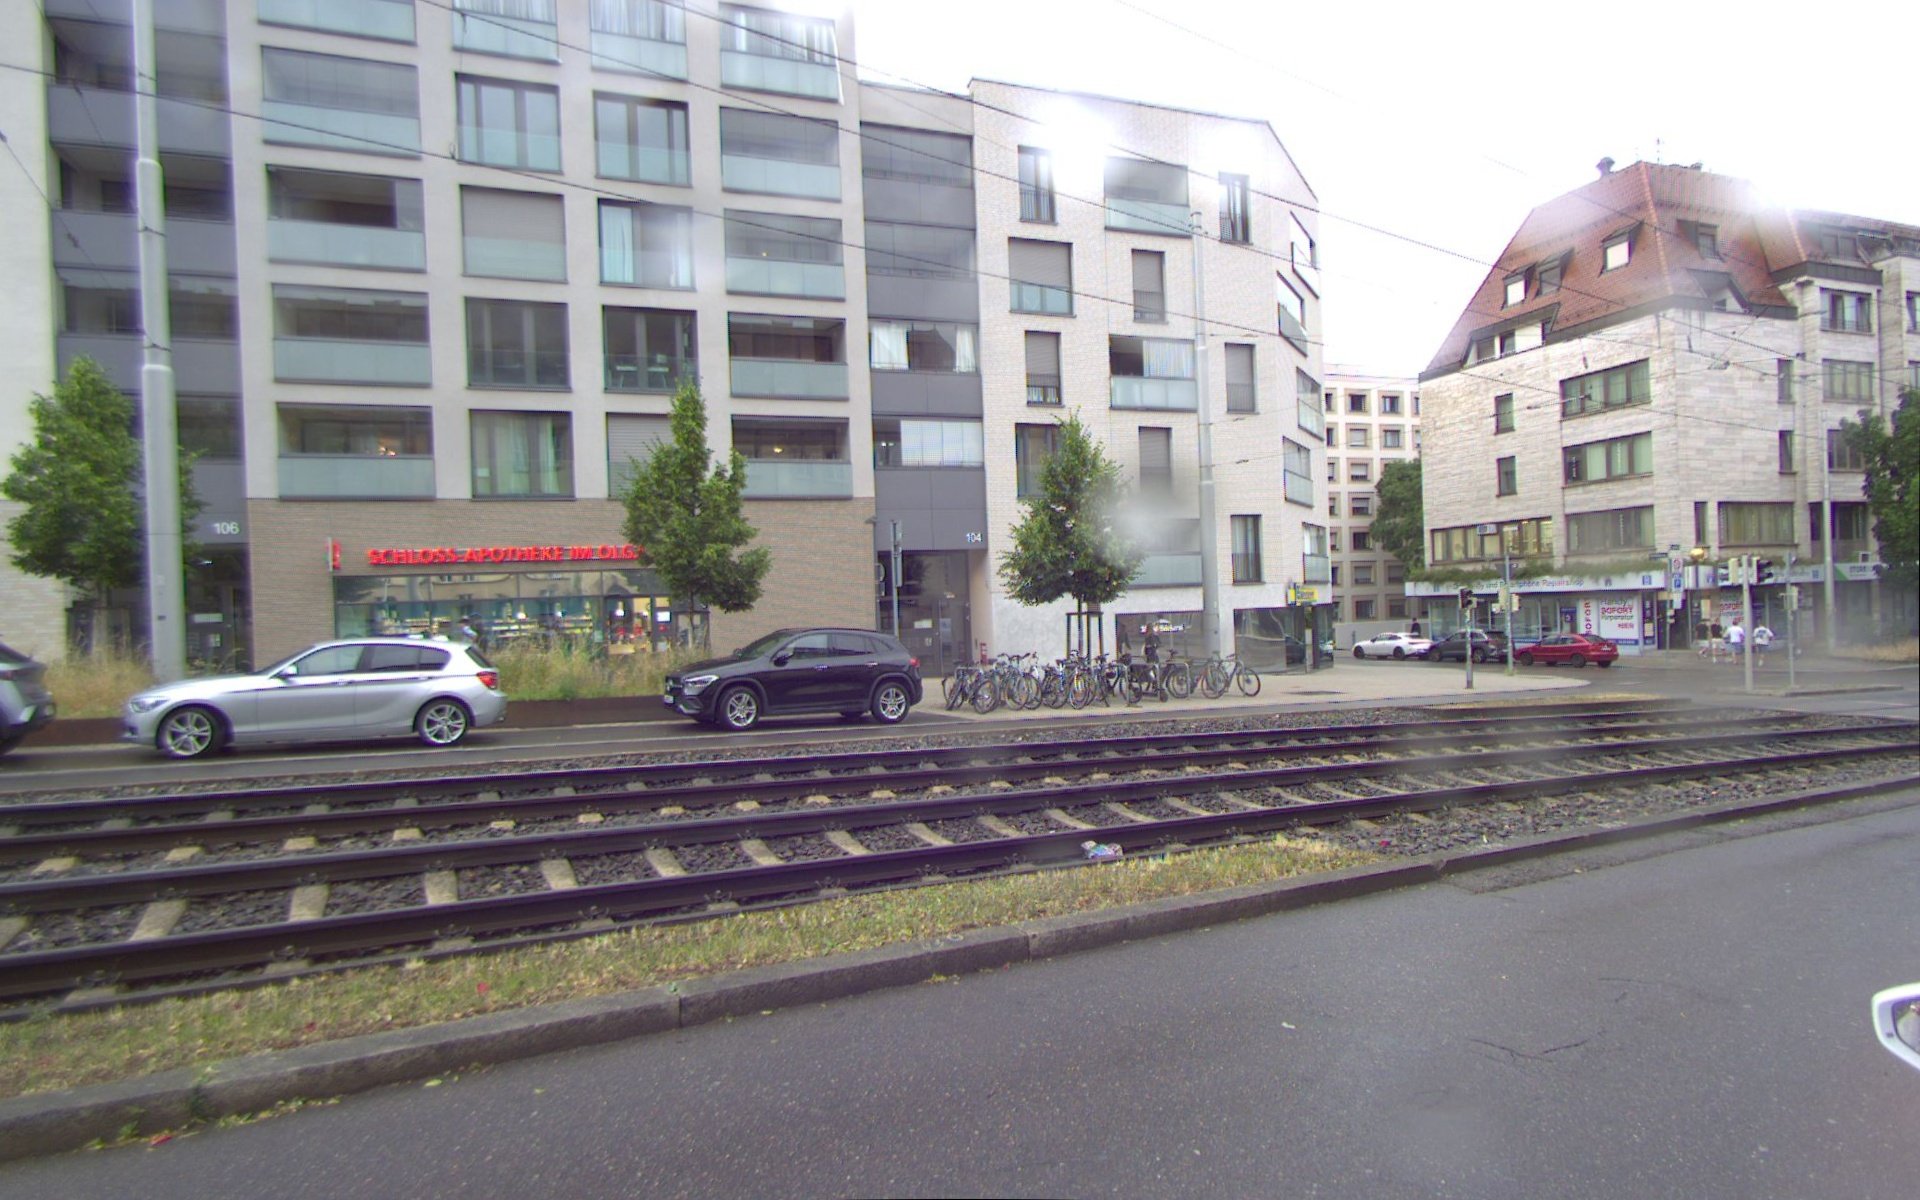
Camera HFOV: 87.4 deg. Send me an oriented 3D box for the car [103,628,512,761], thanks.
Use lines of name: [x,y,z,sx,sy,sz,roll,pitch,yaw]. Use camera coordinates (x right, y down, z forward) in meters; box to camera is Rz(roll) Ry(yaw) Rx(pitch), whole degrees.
car: [-8.393,1.153,13.339,4.280,1.484,1.671,2,-1,-31]

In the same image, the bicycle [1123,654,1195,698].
bicycle: [4.782,1.817,24.191,1.764,0.930,0.385,0,-1,44]

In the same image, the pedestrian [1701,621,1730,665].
pedestrian: [30.690,1.748,40.805,0.674,1.772,0.646,1,0,-22]

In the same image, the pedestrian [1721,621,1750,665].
pedestrian: [30.924,1.712,40.051,0.674,1.747,0.646,1,0,-22]

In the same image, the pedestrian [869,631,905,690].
pedestrian: [-1.902,1.563,25.993,0.790,1.468,0.538,2,0,-18]

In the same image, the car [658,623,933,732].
car: [-2.725,1.235,16.975,4.280,1.625,1.671,2,-1,-31]

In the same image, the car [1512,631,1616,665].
car: [25.792,2.036,43.023,1.569,1.335,3.691,1,-2,-18]

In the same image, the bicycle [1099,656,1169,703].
bicycle: [4.007,1.822,23.244,0.384,0.930,1.770,1,0,-38]

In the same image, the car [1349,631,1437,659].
car: [22.388,2.307,52.171,1.570,1.335,4.482,1,-2,-20]

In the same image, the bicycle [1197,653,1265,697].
bicycle: [6.672,1.835,24.819,0.436,0.993,1.773,1,-2,-34]

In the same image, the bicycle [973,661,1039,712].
bicycle: [0.937,1.764,20.740,0.383,0.930,1.772,1,-1,-34]

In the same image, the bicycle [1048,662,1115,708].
bicycle: [2.617,1.833,21.790,0.383,0.929,1.773,1,-3,-34]

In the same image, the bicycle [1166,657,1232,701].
bicycle: [5.710,1.876,24.076,0.383,0.888,1.774,1,0,-31]

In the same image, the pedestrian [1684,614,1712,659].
pedestrian: [31.034,1.531,42.221,0.674,1.867,0.646,1,0,-22]

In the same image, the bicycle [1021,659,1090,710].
bicycle: [1.977,1.741,20.966,0.383,0.930,1.772,1,-1,-34]

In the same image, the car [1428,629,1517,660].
car: [24.192,2.083,47.556,1.570,1.335,3.689,1,-2,-20]

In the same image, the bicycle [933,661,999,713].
bicycle: [0.100,1.727,20.254,0.383,0.930,1.772,1,-1,-34]

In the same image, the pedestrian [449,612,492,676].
pedestrian: [-11.493,1.027,23.605,0.790,1.468,0.656,2,0,-18]

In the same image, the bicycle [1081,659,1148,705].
bicycle: [3.443,1.820,22.528,0.383,0.930,1.772,1,-1,-34]

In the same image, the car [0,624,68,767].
car: [-12.470,1.037,10.867,4.010,1.550,1.669,2,-1,-35]

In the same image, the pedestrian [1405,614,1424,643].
pedestrian: [25.260,1.566,55.855,0.640,1.569,0.680,1,0,-22]

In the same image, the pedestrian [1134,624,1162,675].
pedestrian: [5.982,1.558,31.899,0.637,1.590,0.775,0,-1,33]

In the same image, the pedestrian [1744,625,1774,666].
pedestrian: [31.357,1.793,39.436,0.674,1.569,0.646,1,0,-22]
